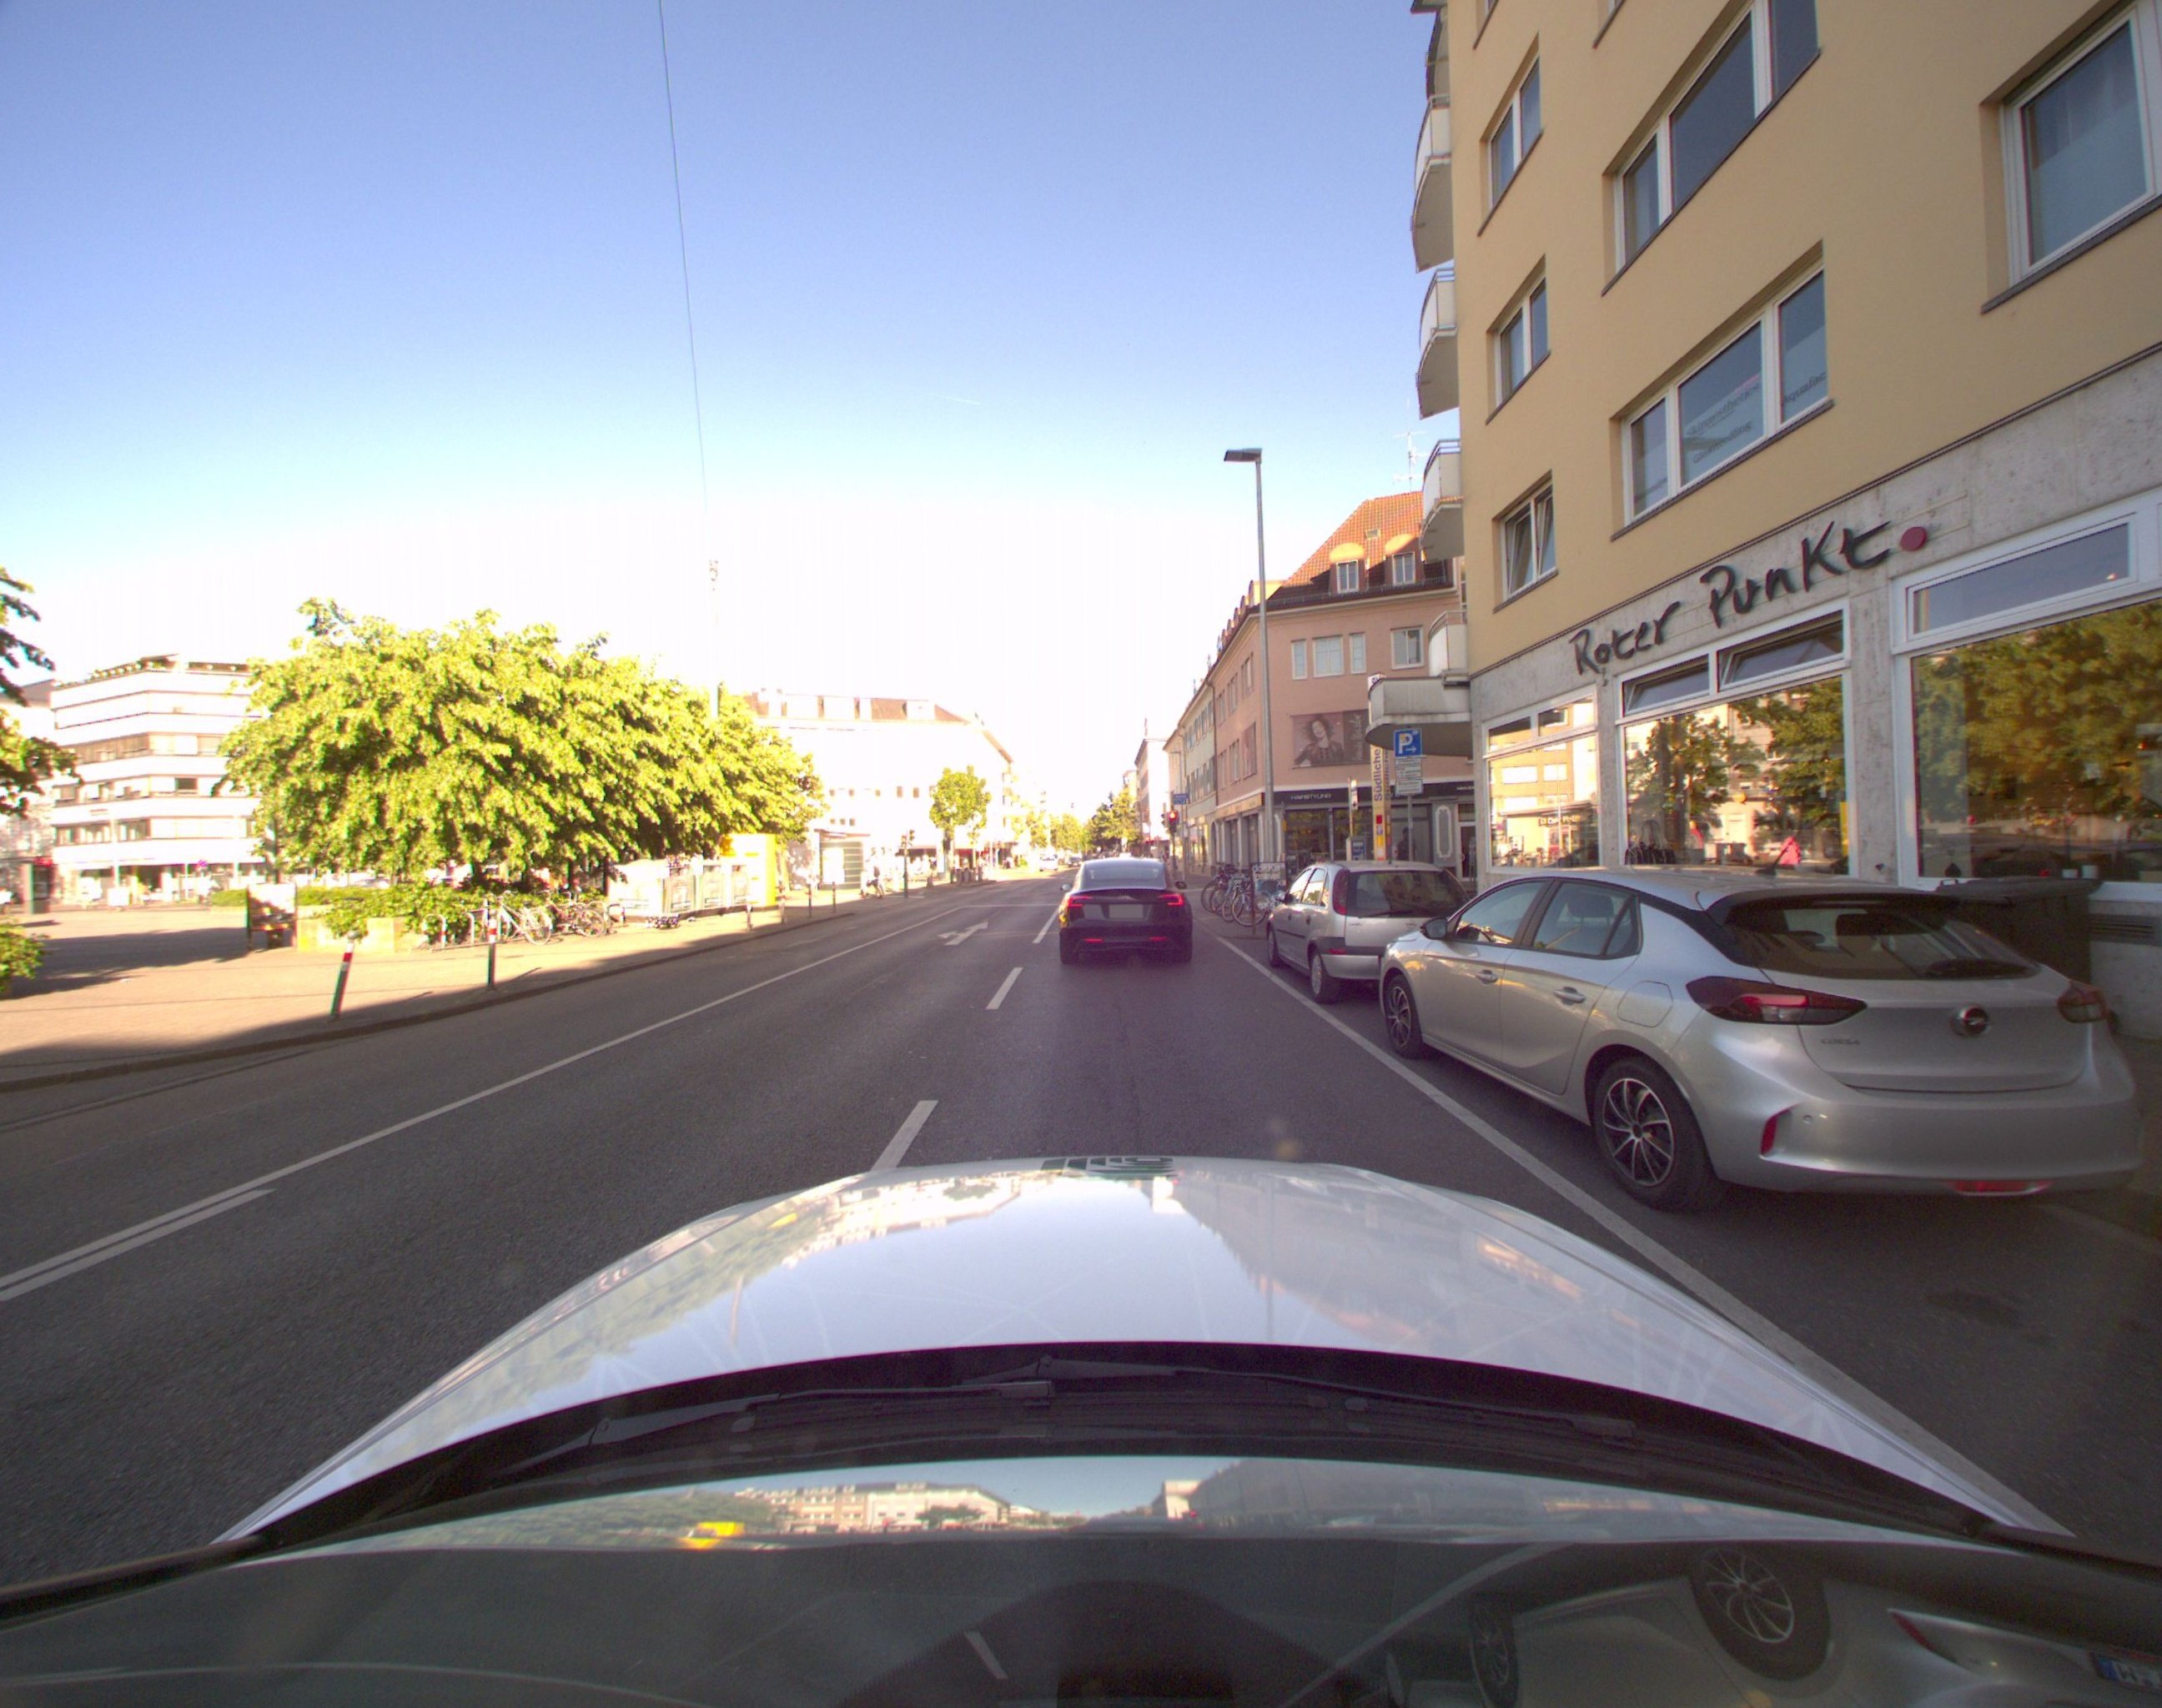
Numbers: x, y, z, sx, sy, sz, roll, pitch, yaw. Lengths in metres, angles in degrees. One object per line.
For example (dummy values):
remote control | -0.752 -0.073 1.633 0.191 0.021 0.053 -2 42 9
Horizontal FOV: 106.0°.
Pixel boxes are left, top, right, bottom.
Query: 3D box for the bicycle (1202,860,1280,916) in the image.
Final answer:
bicycle | 3.609 0.767 18.434 1.622 1.160 0.433 -3 0 0

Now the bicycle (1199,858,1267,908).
bicycle | 3.851 0.732 20.698 1.621 1.160 0.433 -3 0 2

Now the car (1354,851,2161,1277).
car | 3.140 0.721 4.845 1.665 1.427 4.077 -1 0 0

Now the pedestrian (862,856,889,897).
pedestrian | -8.812 0.962 34.924 0.897 1.725 0.745 -1 0 5

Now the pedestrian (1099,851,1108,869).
pedestrian | 2.549 0.663 93.976 0.754 2.013 0.792 -1 0 -24

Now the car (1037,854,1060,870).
car | -3.442 0.844 86.254 1.986 1.541 4.002 -5 0 2

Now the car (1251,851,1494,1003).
car | 3.134 0.686 9.579 1.615 1.394 3.889 -1 0 3

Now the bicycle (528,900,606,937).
bicycle | -11.179 1.399 17.712 1.465 0.769 0.442 -1 -1 6

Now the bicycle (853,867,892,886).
bicycle | -12.549 1.341 49.075 2.074 1.104 0.806 -1 0 1

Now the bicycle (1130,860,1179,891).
bicycle | 2.555 0.738 28.265 1.605 1.045 0.593 -1 -1 11

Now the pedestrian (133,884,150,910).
pedestrian | -64.670 2.941 56.062 0.576 1.792 0.604 -1 -1 19

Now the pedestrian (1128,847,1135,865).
pedestrian | 5.639 0.227 90.784 0.620 2.013 0.562 -1 0 26

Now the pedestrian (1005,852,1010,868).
pedestrian | -9.378 0.788 103.906 0.623 2.013 0.575 -1 0 1

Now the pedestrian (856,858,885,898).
pedestrian | -8.827 0.985 34.151 0.981 1.636 0.738 -1 0 5

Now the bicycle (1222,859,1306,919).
bicycle | 3.834 0.725 17.114 1.622 1.160 0.433 -3 0 0

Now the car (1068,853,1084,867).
car | -0.615 0.804 106.851 2.043 1.727 4.653 -1 0 0

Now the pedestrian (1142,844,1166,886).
pedestrian | 2.536 0.378 28.273 0.738 1.440 0.584 -1 -1 11

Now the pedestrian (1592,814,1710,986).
pedestrian | 5.710 0.451 8.195 0.659 1.633 0.629 -4 -1 6

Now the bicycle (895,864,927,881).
bicycle | -12.198 1.328 58.562 2.074 1.104 0.806 -1 0 1

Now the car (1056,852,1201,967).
car | 0.701 0.715 12.376 1.842 1.455 3.788 -1 0 3

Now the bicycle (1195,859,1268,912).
bicycle | 3.597 0.750 19.563 1.622 1.160 0.433 -3 0 0

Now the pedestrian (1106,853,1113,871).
pedestrian | 3.157 0.919 90.688 0.621 2.013 0.562 -1 0 21

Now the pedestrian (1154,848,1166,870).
pedestrian | 6.914 0.448 71.357 0.995 1.850 0.615 -1 0 1

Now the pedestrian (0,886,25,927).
pedestrian | -53.528 2.623 40.708 0.577 2.014 0.682 -1 -1 9

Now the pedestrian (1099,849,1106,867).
pedestrian | 2.392 0.454 91.173 0.621 2.013 0.562 -1 0 21

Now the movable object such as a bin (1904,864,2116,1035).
movable object such as a bin | 6.447 0.635 5.688 0.700 1.067 0.620 -4 0 1

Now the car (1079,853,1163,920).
car | 0.983 0.718 20.001 1.842 1.455 3.788 -1 0 3

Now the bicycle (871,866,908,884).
bicycle | -12.126 1.328 51.586 2.074 1.104 0.806 -1 0 1

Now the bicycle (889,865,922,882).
bicycle | -12.161 1.361 56.365 2.074 1.104 0.806 -1 0 1

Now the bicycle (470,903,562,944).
bicycle | -11.317 1.384 16.321 1.645 0.769 0.476 -1 -1 10

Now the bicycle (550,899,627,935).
bicycle | -11.027 1.400 18.262 1.466 0.769 0.475 -1 -1 4
